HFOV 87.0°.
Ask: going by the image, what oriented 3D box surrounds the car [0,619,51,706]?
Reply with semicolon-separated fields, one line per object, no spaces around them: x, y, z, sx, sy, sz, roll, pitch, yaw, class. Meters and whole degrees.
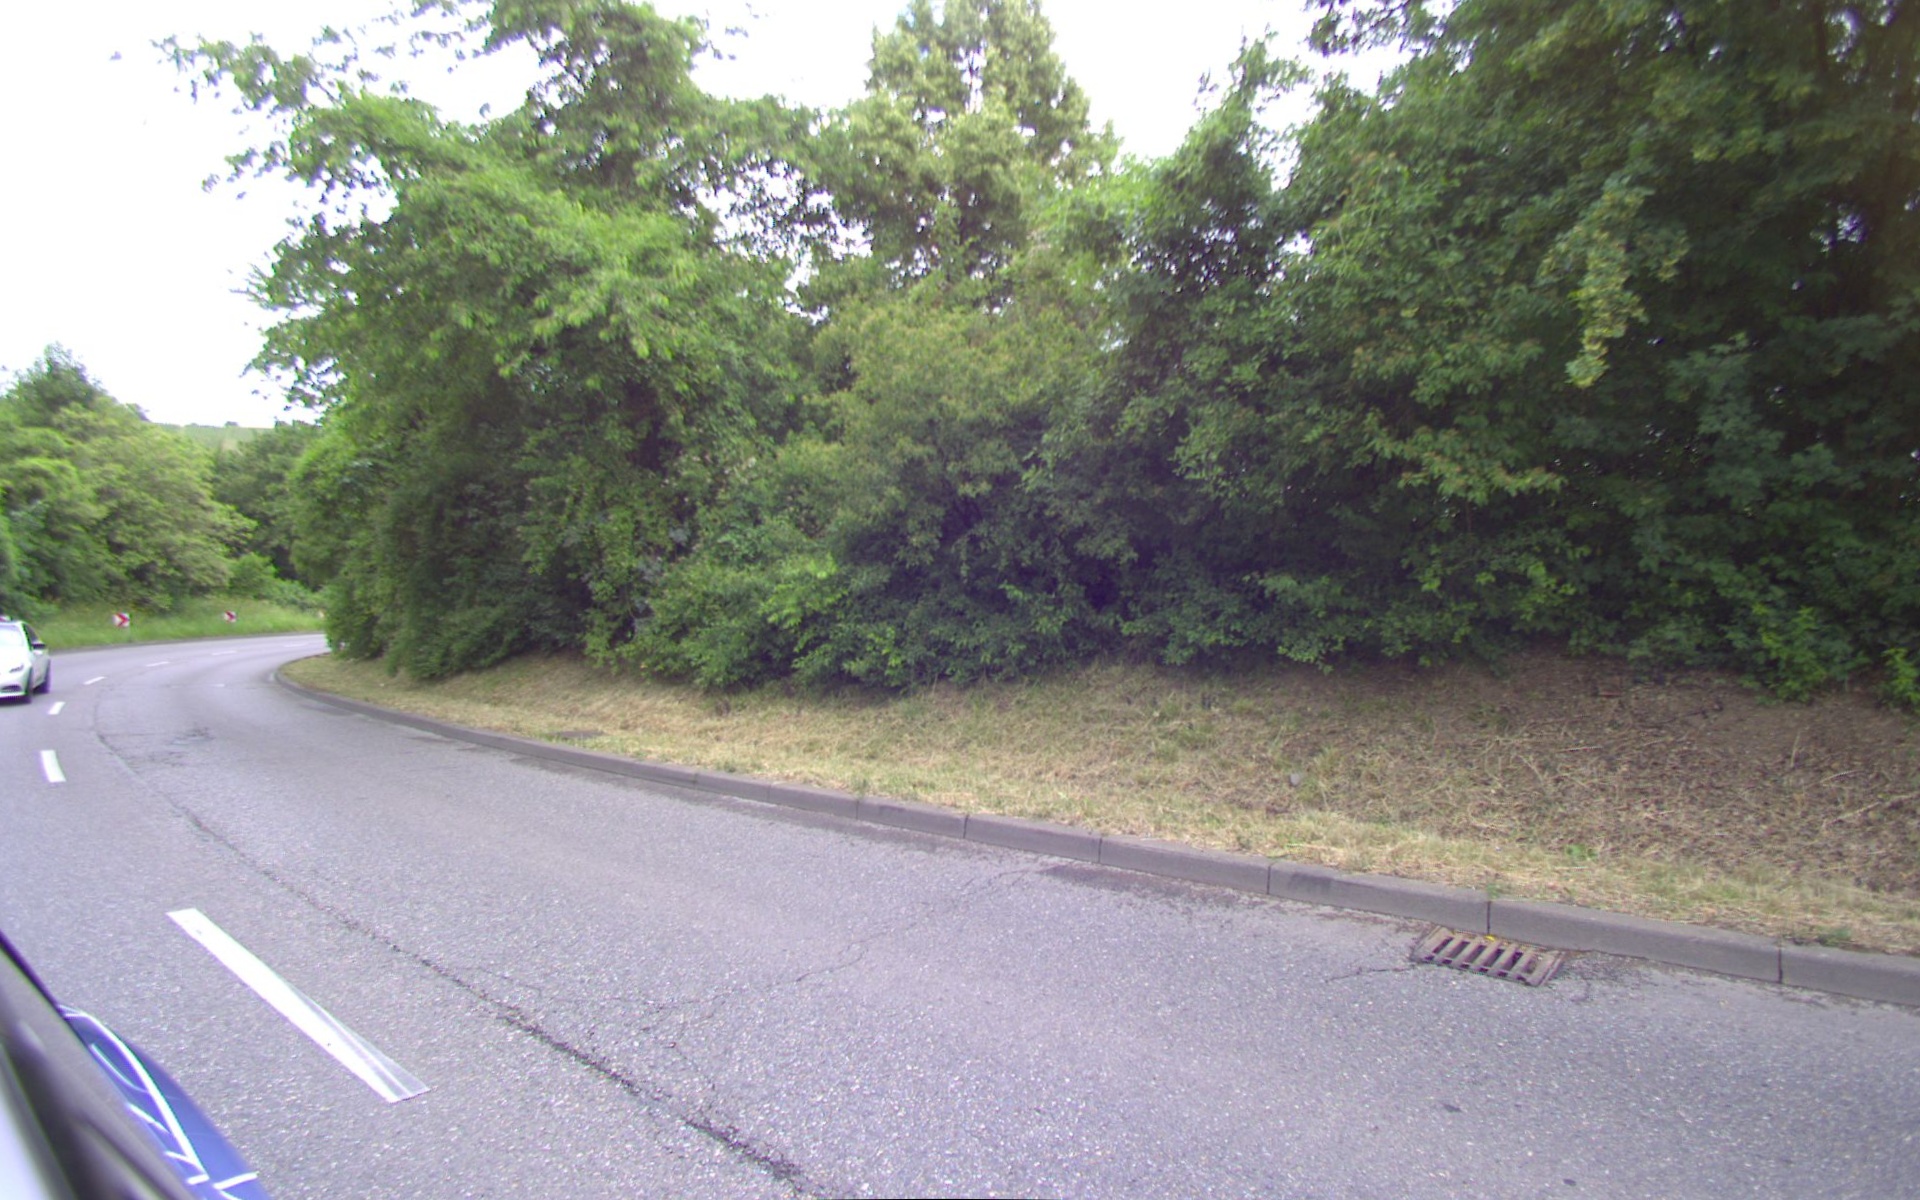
-17.910;1.065;18.274;1.837;1.442;4.365;1;-1;-37;car
